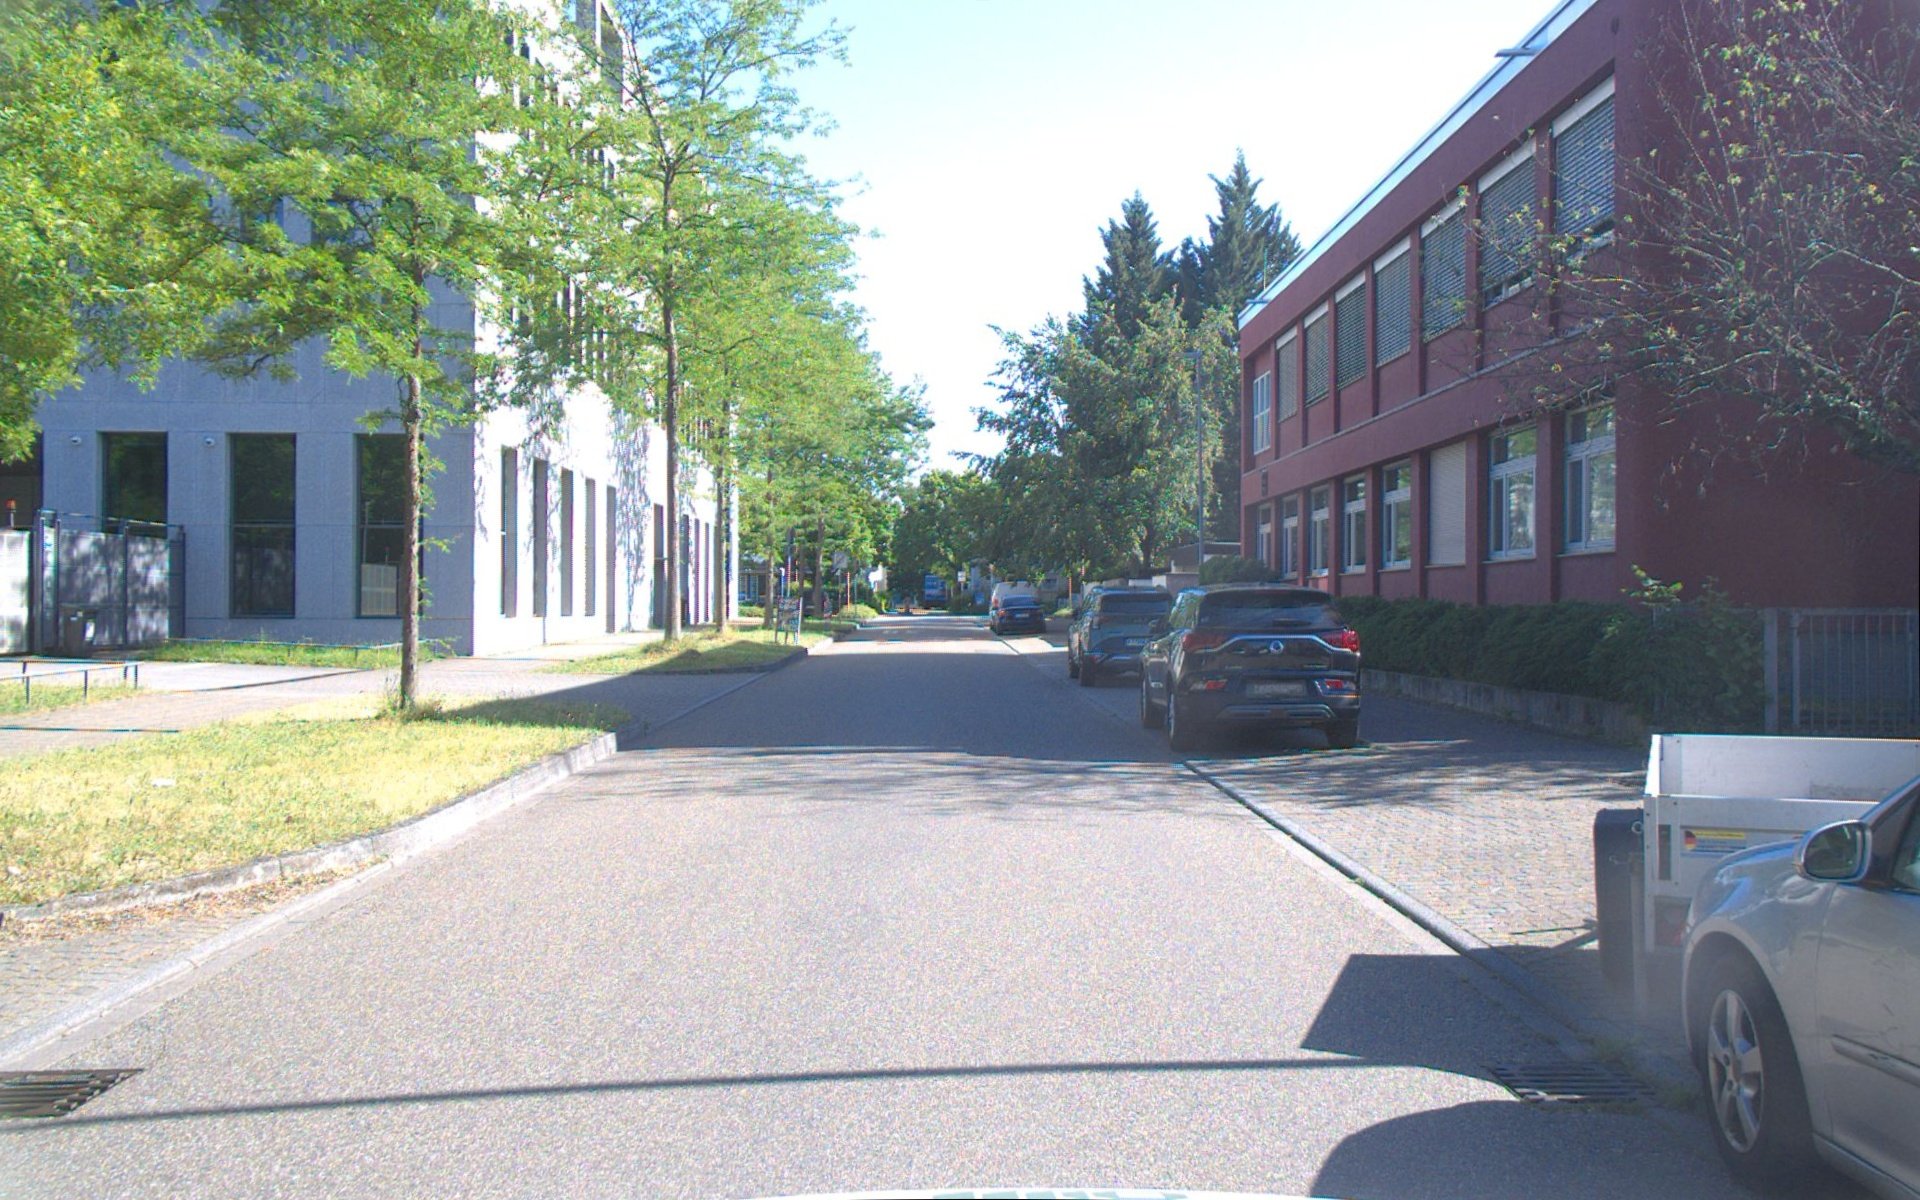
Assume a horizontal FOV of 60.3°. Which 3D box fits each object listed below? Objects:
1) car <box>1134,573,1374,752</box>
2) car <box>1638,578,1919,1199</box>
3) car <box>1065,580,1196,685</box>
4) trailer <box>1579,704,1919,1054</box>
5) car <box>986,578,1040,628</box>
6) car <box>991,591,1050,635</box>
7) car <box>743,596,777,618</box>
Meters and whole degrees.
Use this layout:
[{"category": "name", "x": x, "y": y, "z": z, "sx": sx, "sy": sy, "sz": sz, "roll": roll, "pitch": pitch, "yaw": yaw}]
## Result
[{"category": "car", "x": 2.956, "y": 0.569, "z": 17.475, "sx": 1.800, "sy": 1.662, "sz": 4.201, "roll": 0, "pitch": 0, "yaw": 0}, {"category": "car", "x": 2.869, "y": 0.752, "z": 3.047, "sx": 1.626, "sy": 1.588, "sz": 3.934, "roll": 0, "pitch": 0, "yaw": 0}, {"category": "car", "x": 2.869, "y": 0.524, "z": 28.581, "sx": 1.817, "sy": 1.677, "sz": 4.000, "roll": -1, "pitch": 0, "yaw": 0}, {"category": "trailer", "x": 3.371, "y": 1.016, "z": 6.928, "sx": 1.344, "sy": 0.928, "sz": 2.937, "roll": 0, "pitch": 0, "yaw": 23}, {"category": "car", "x": 2.114, "y": 0.104, "z": 66.987, "sx": 1.953, "sy": 1.866, "sz": 4.000, "roll": -3, "pitch": 0, "yaw": 0}, {"category": "car", "x": 2.199, "y": 0.454, "z": 61.252, "sx": 1.953, "sy": 1.467, "sz": 4.000, "roll": -3, "pitch": 0, "yaw": 0}, {"category": "car", "x": -12.420, "y": 0.430, "z": 102.817, "sx": 1.868, "sy": 1.365, "sz": 3.790, "roll": 0, "pitch": 0, "yaw": -4}]
